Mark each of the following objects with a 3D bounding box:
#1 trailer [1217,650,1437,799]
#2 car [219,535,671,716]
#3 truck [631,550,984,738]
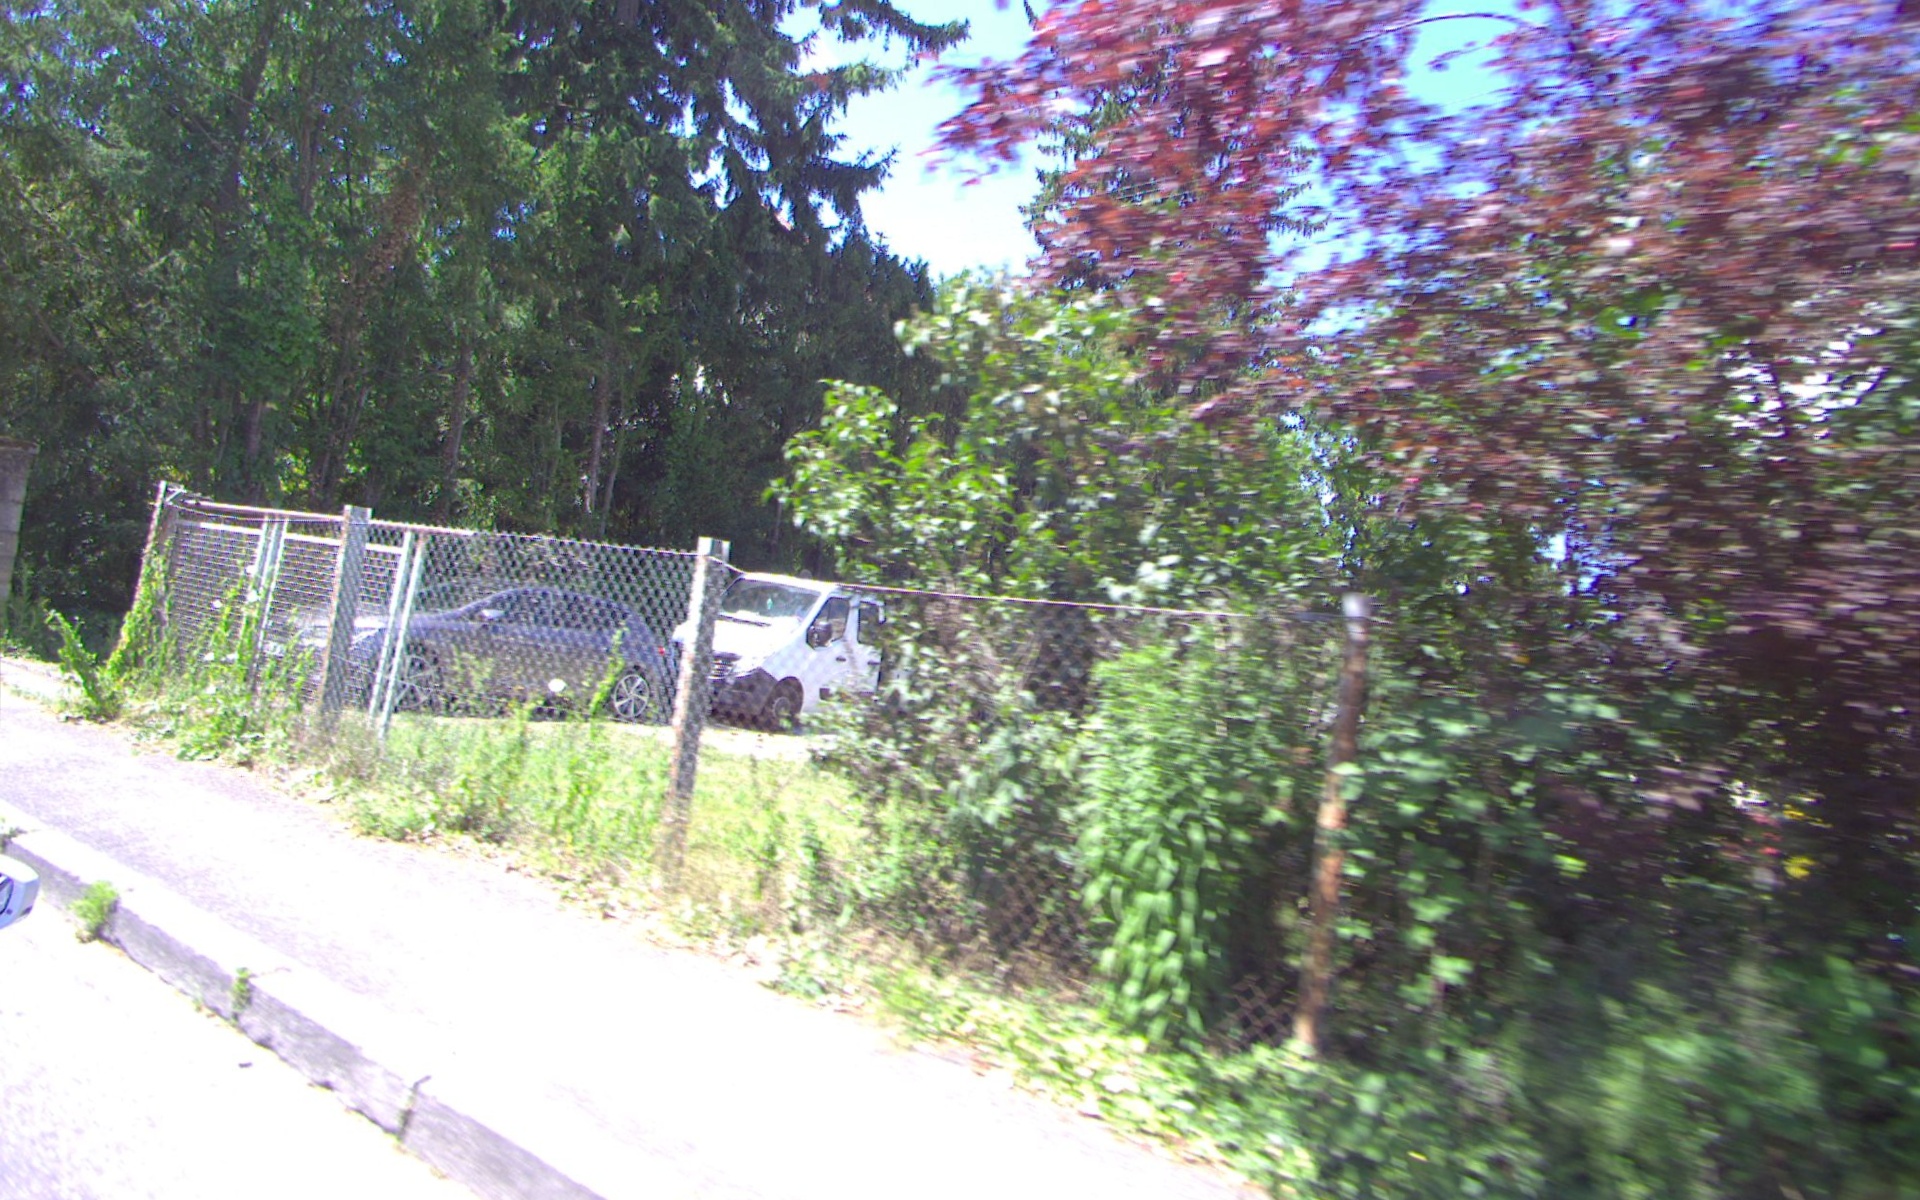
[{"bbox_3d":[5.904,1.970,15.892,2.054,1.955,3.988,0,-7,39],"label":"trailer"},{"bbox_3d":[-5.299,0.377,10.854,1.738,1.395,3.869,7,-3,33],"label":"car"},{"bbox_3d":[-2.050,0.951,16.475,1.945,2.190,6.637,8,-4,28],"label":"truck"}]
